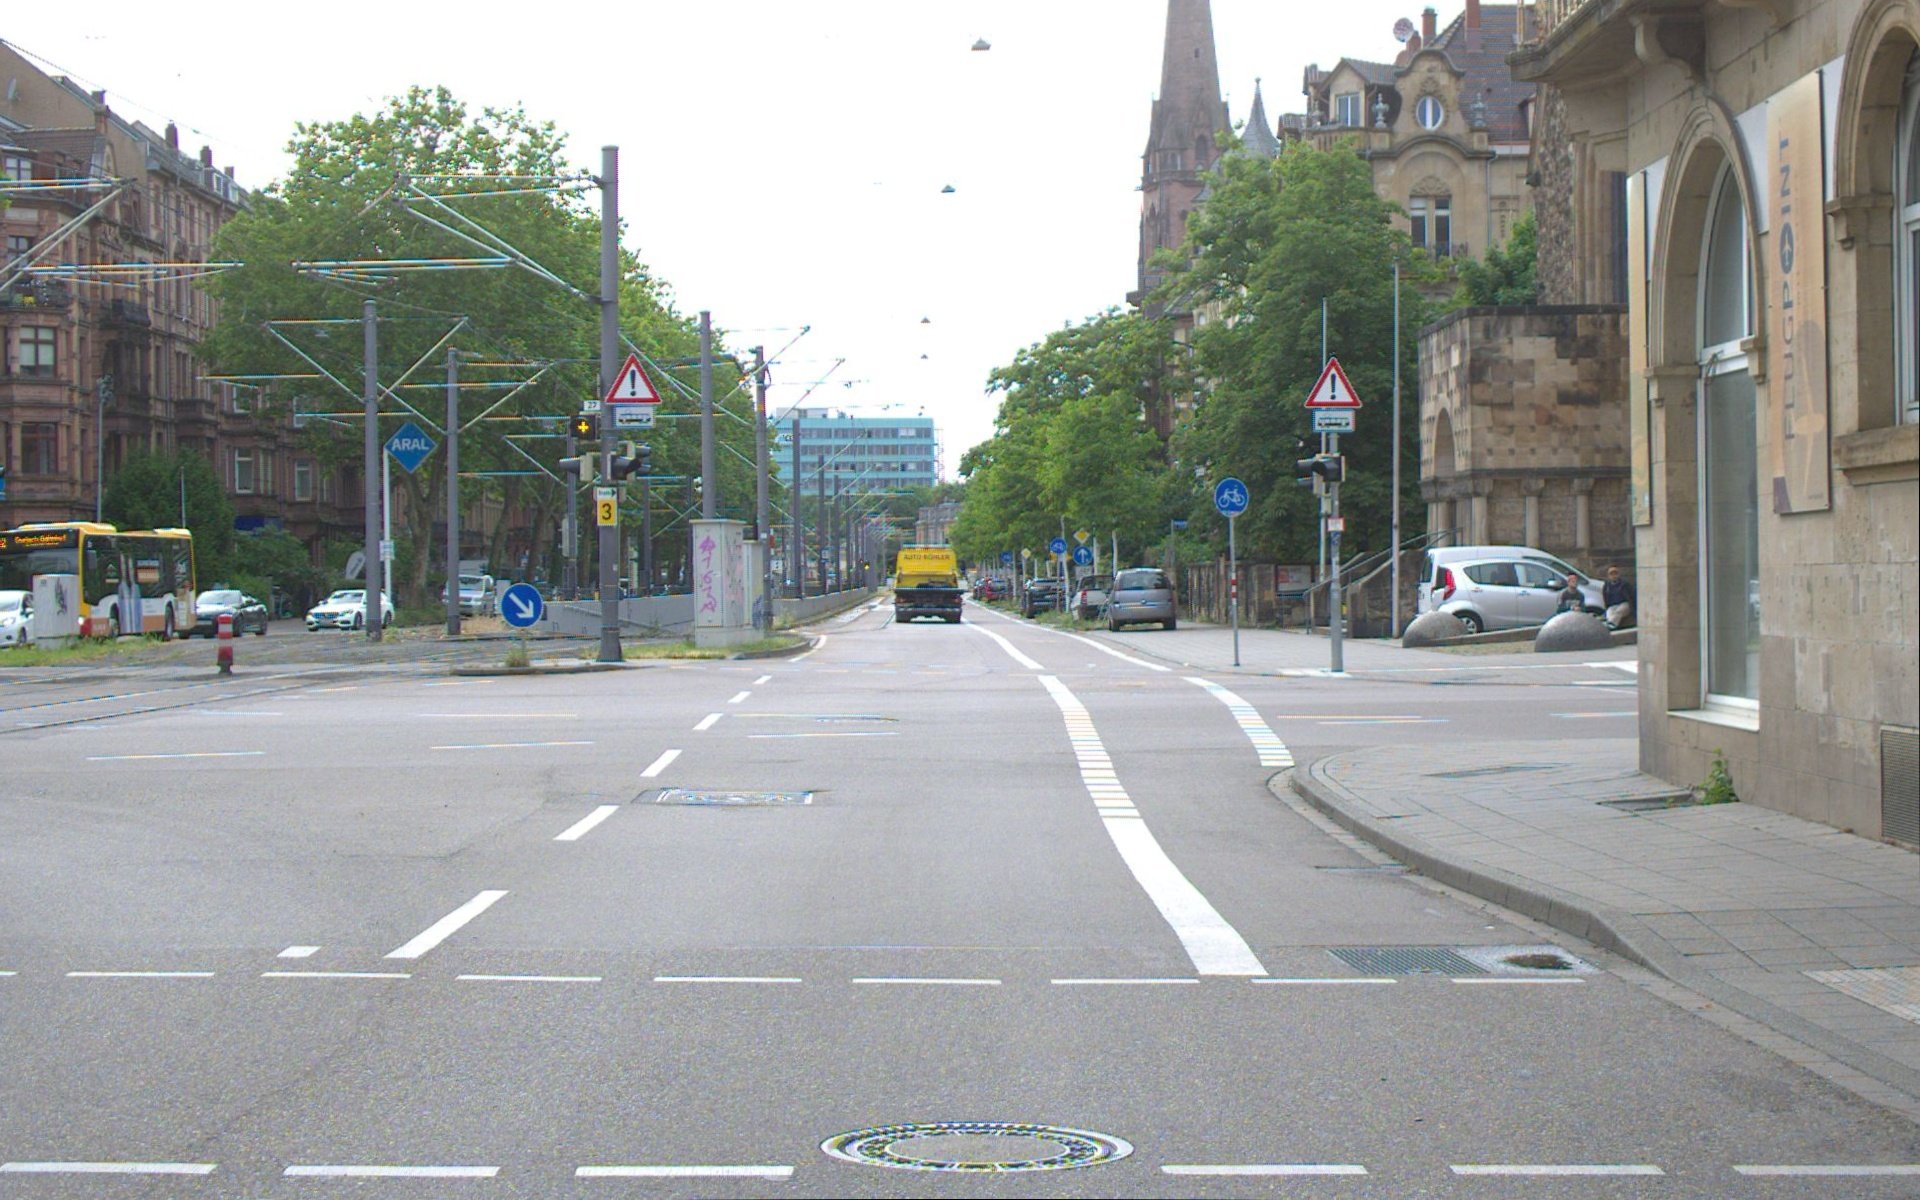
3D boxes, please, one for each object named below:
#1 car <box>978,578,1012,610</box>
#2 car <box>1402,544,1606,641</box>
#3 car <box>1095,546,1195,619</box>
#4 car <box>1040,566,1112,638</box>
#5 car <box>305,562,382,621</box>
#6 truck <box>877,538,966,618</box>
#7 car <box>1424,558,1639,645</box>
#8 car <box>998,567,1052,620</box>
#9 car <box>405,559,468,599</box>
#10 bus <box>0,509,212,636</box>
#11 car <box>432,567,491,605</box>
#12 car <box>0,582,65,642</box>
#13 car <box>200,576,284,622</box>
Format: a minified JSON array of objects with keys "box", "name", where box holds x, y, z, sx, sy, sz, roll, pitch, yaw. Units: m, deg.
[{"box":[2.194,-0.394,216.838,1.993,2.007,4.000,1,1,-1],"name":"car"},{"box":[10.794,-0.157,68.406,3.713,1.849,2.000,1,0,0],"name":"car"},{"box":[4.869,-0.468,89.986,1.994,1.849,4.024,1,1,12],"name":"car"},{"box":[3.344,0.037,99.609,1.993,2.007,4.000,1,1,1],"name":"car"},{"box":[-21.577,-0.326,120.510,1.993,2.007,4.000,1,1,-1],"name":"car"},{"box":[-1.339,-0.816,124.321,3.055,2.760,9.816,0,1,0],"name":"truck"},{"box":[10.765,0.020,64.954,3.713,1.558,2.000,1,0,0],"name":"car"},{"box":[2.539,-0.270,135.991,1.993,2.007,4.000,1,1,-1],"name":"car"},{"box":[-21.537,-0.873,141.522,1.993,1.605,4.000,1,1,-1],"name":"car"},{"box":[-22.477,-0.727,89.096,3.231,3.025,12.311,1,1,1],"name":"bus"},{"box":[-21.628,-0.633,149.339,1.993,1.605,4.000,1,1,-1],"name":"car"},{"box":[-21.909,0.262,79.047,1.656,1.316,3.638,1,1,1],"name":"car"},{"box":[-21.433,-0.052,102.744,1.656,1.316,3.638,1,1,1],"name":"car"}]
